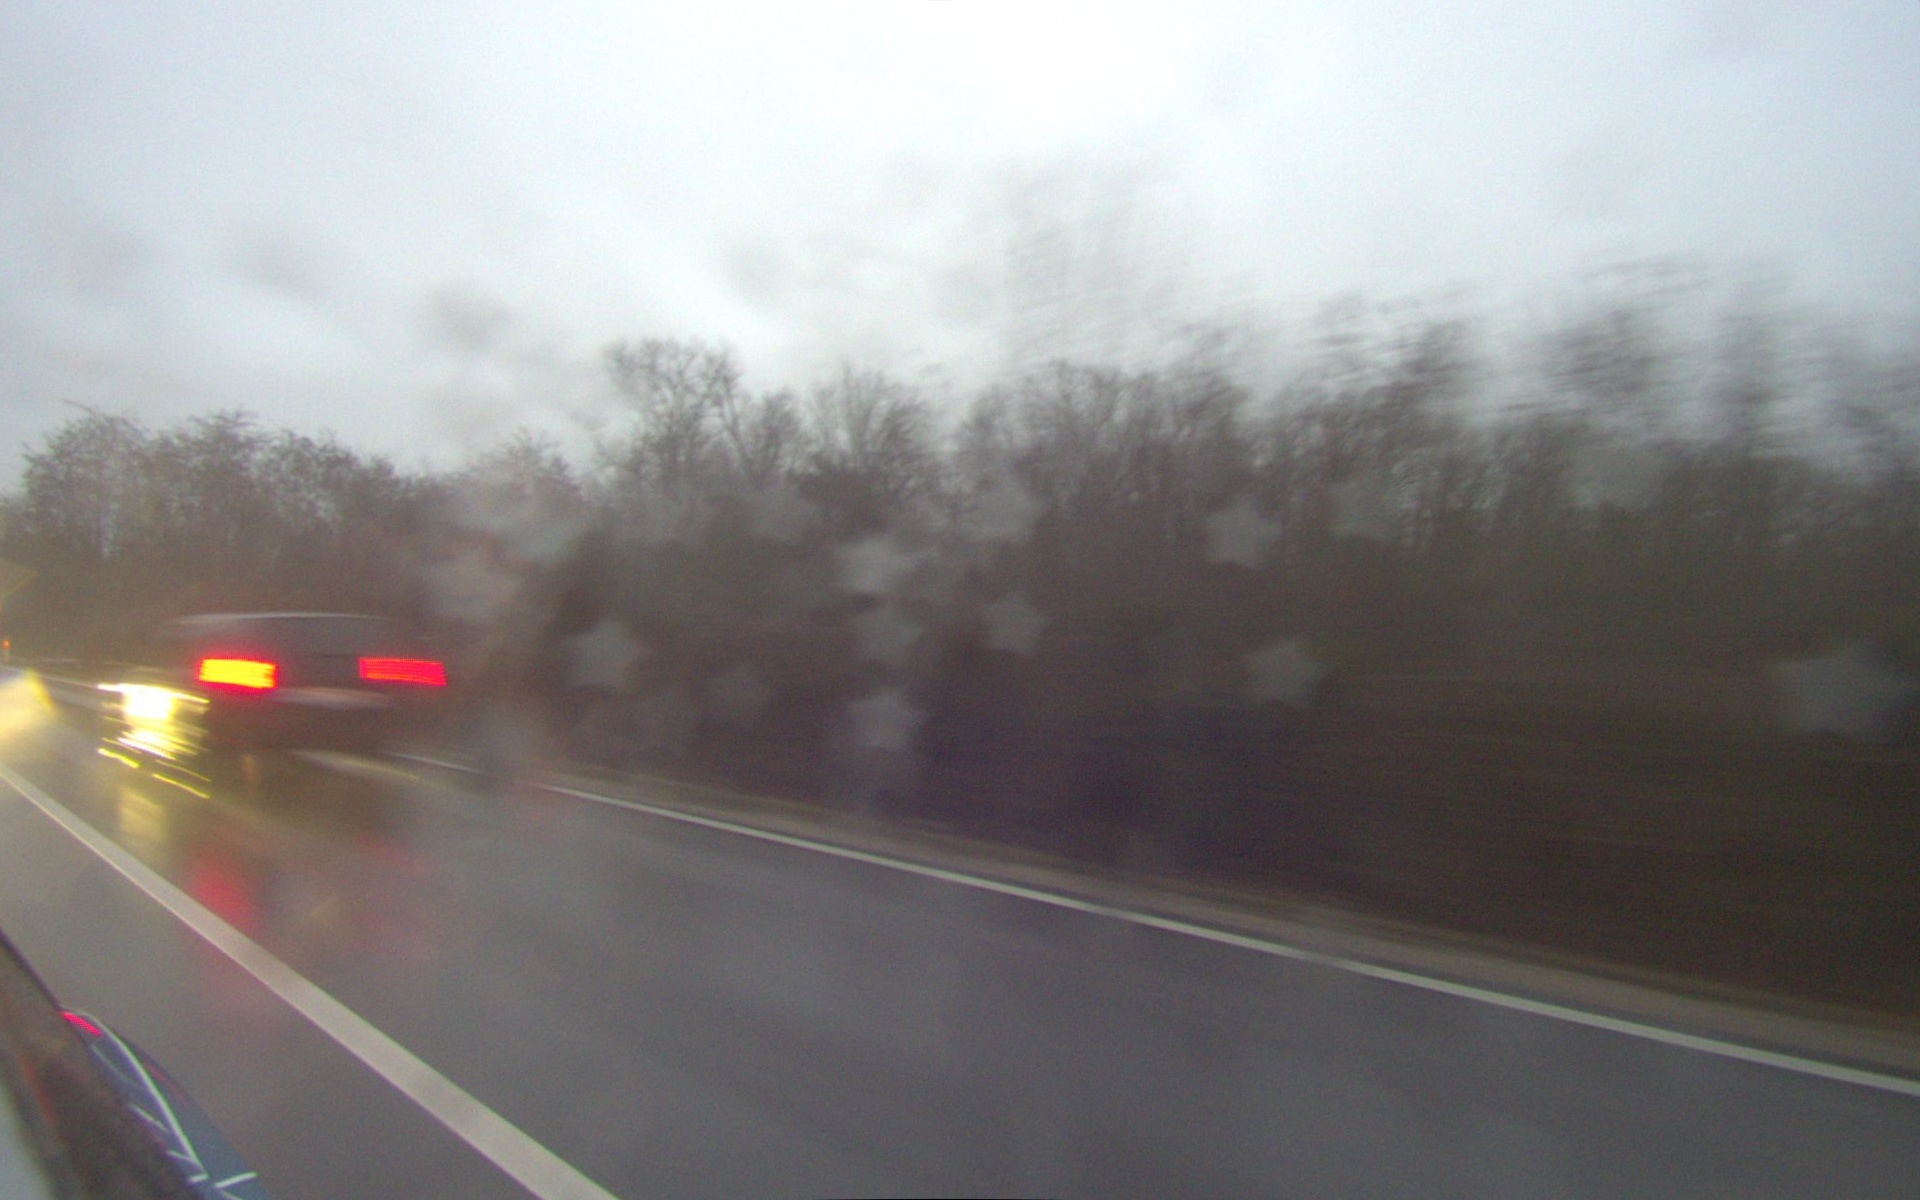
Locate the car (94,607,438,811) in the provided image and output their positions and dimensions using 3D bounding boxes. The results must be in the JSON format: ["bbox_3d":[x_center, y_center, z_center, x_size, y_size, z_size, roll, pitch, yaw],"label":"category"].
[{"bbox_3d":[-6.940,0.934,9.976,3.997,1.610,1.749,-1,-4,40],"label":"car"}]
